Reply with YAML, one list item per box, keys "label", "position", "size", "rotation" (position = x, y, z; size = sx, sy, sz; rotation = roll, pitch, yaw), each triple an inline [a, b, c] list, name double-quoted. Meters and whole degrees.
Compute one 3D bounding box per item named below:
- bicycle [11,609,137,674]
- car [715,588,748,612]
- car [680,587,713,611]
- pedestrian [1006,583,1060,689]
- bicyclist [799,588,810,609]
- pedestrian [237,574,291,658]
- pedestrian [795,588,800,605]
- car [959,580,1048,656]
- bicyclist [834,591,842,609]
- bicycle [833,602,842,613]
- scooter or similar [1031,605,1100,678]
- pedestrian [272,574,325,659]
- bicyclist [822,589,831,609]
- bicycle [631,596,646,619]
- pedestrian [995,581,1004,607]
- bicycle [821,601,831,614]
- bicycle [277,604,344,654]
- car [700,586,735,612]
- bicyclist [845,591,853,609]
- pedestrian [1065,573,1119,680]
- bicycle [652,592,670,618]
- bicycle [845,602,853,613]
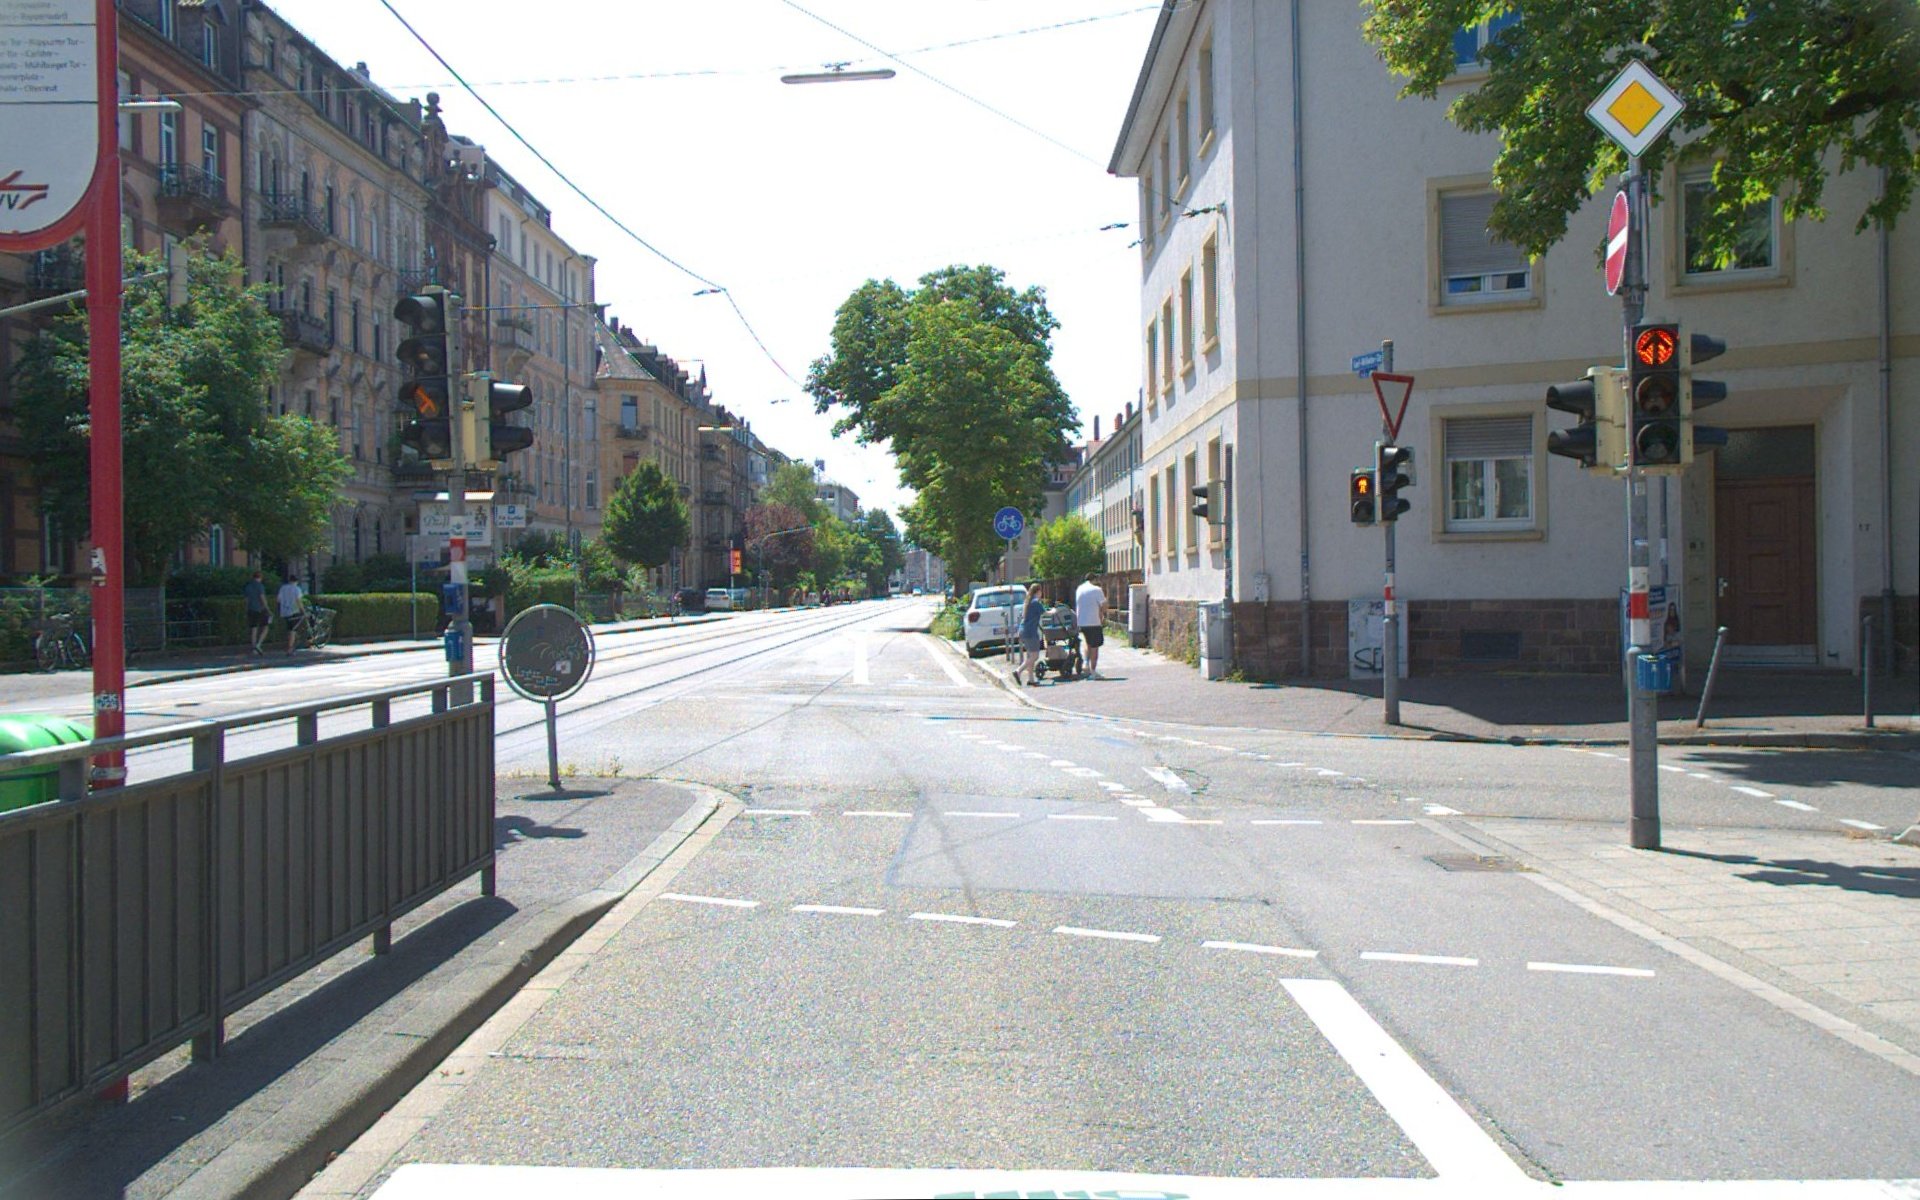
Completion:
- label: "bicycle"
  position: [-16.713, 0.756, 31.302]
  size: [0.918, 1.156, 2.773]
  rotation: [1, 0, -2]
- label: "car"
  position: [-17.043, -0.019, 123.571]
  size: [1.880, 1.745, 3.999]
  rotation: [1, 0, -1]
- label: "car"
  position: [-19.674, -0.064, 123.605]
  size: [1.880, 1.745, 3.999]
  rotation: [1, 0, -1]
- label: "pedestrian"
  position: [1.170, 0.574, 26.587]
  size: [0.549, 1.674, 0.672]
  rotation: [0, -1, 45]
- label: "bicyclist"
  position: [-12.387, -0.113, 131.888]
  size: [0.712, 1.657, 1.079]
  rotation: [1, 0, 1]
- label: "pedestrian"
  position: [-15.584, 0.349, 37.045]
  size: [0.799, 1.854, 0.874]
  rotation: [1, 1, 1]
- label: "pedestrian"
  position: [-14.504, -0.339, 147.843]
  size: [0.398, 1.486, 0.436]
  rotation: [-1, 0, -1]
- label: "car"
  position: [0.927, 0.398, 37.331]
  size: [1.778, 1.542, 3.999]
  rotation: [-3, 0, -1]
- label: "bicyclist"
  position: [-12.686, 0.033, 171.701]
  size: [0.712, 1.850, 1.079]
  rotation: [1, 0, 1]
- label: "bicycle"
  position: [-12.700, 0.749, 171.706]
  size: [0.712, 1.142, 2.085]
  rotation: [1, 0, 1]
- label: "scooter or similar"
  position: [1.741, 0.674, 27.290]
  size: [0.548, 1.175, 1.200]
  rotation: [1, -1, 38]
- label: "pedestrian"
  position: [-14.837, 0.356, 37.121]
  size: [0.799, 1.854, 0.874]
  rotation: [1, 1, 1]
- label: "bicyclist"
  position: [-12.203, -0.061, 150.905]
  size: [0.712, 1.799, 1.079]
  rotation: [1, 0, 1]
- label: "bicycle"
  position: [-15.499, 0.336, 79.785]
  size: [0.665, 1.083, 1.913]
  rotation: [-1, 0, -12]
- label: "pedestrian"
  position: [2.503, -0.376, 104.596]
  size: [0.511, 1.590, 0.573]
  rotation: [-1, 0, -1]
- label: "bicycle"
  position: [-12.213, 0.656, 150.970]
  size: [0.712, 1.142, 2.085]
  rotation: [1, 0, 1]
- label: "bicycle"
  position: [-15.886, 0.697, 40.512]
  size: [0.920, 1.156, 2.767]
  rotation: [1, 0, -9]
- label: "car"
  position: [-16.875, -0.051, 115.310]
  size: [1.880, 1.745, 3.999]
  rotation: [1, 0, -1]
- label: "bicyclist"
  position: [-11.493, 0.038, 171.684]
  size: [0.712, 1.850, 1.079]
  rotation: [1, 0, 1]
- label: "pedestrian"
  position: [2.111, 0.420, 26.424]
  size: [0.549, 1.674, 0.672]
  rotation: [0, -1, 45]
- label: "bicycle"
  position: [-15.276, 0.251, 84.432]
  size: [0.664, 1.301, 1.917]
  rotation: [-1, 0, -4]
- label: "bicycle"
  position: [-11.511, 0.764, 171.677]
  size: [0.712, 1.142, 2.085]
  rotation: [1, 0, 1]
